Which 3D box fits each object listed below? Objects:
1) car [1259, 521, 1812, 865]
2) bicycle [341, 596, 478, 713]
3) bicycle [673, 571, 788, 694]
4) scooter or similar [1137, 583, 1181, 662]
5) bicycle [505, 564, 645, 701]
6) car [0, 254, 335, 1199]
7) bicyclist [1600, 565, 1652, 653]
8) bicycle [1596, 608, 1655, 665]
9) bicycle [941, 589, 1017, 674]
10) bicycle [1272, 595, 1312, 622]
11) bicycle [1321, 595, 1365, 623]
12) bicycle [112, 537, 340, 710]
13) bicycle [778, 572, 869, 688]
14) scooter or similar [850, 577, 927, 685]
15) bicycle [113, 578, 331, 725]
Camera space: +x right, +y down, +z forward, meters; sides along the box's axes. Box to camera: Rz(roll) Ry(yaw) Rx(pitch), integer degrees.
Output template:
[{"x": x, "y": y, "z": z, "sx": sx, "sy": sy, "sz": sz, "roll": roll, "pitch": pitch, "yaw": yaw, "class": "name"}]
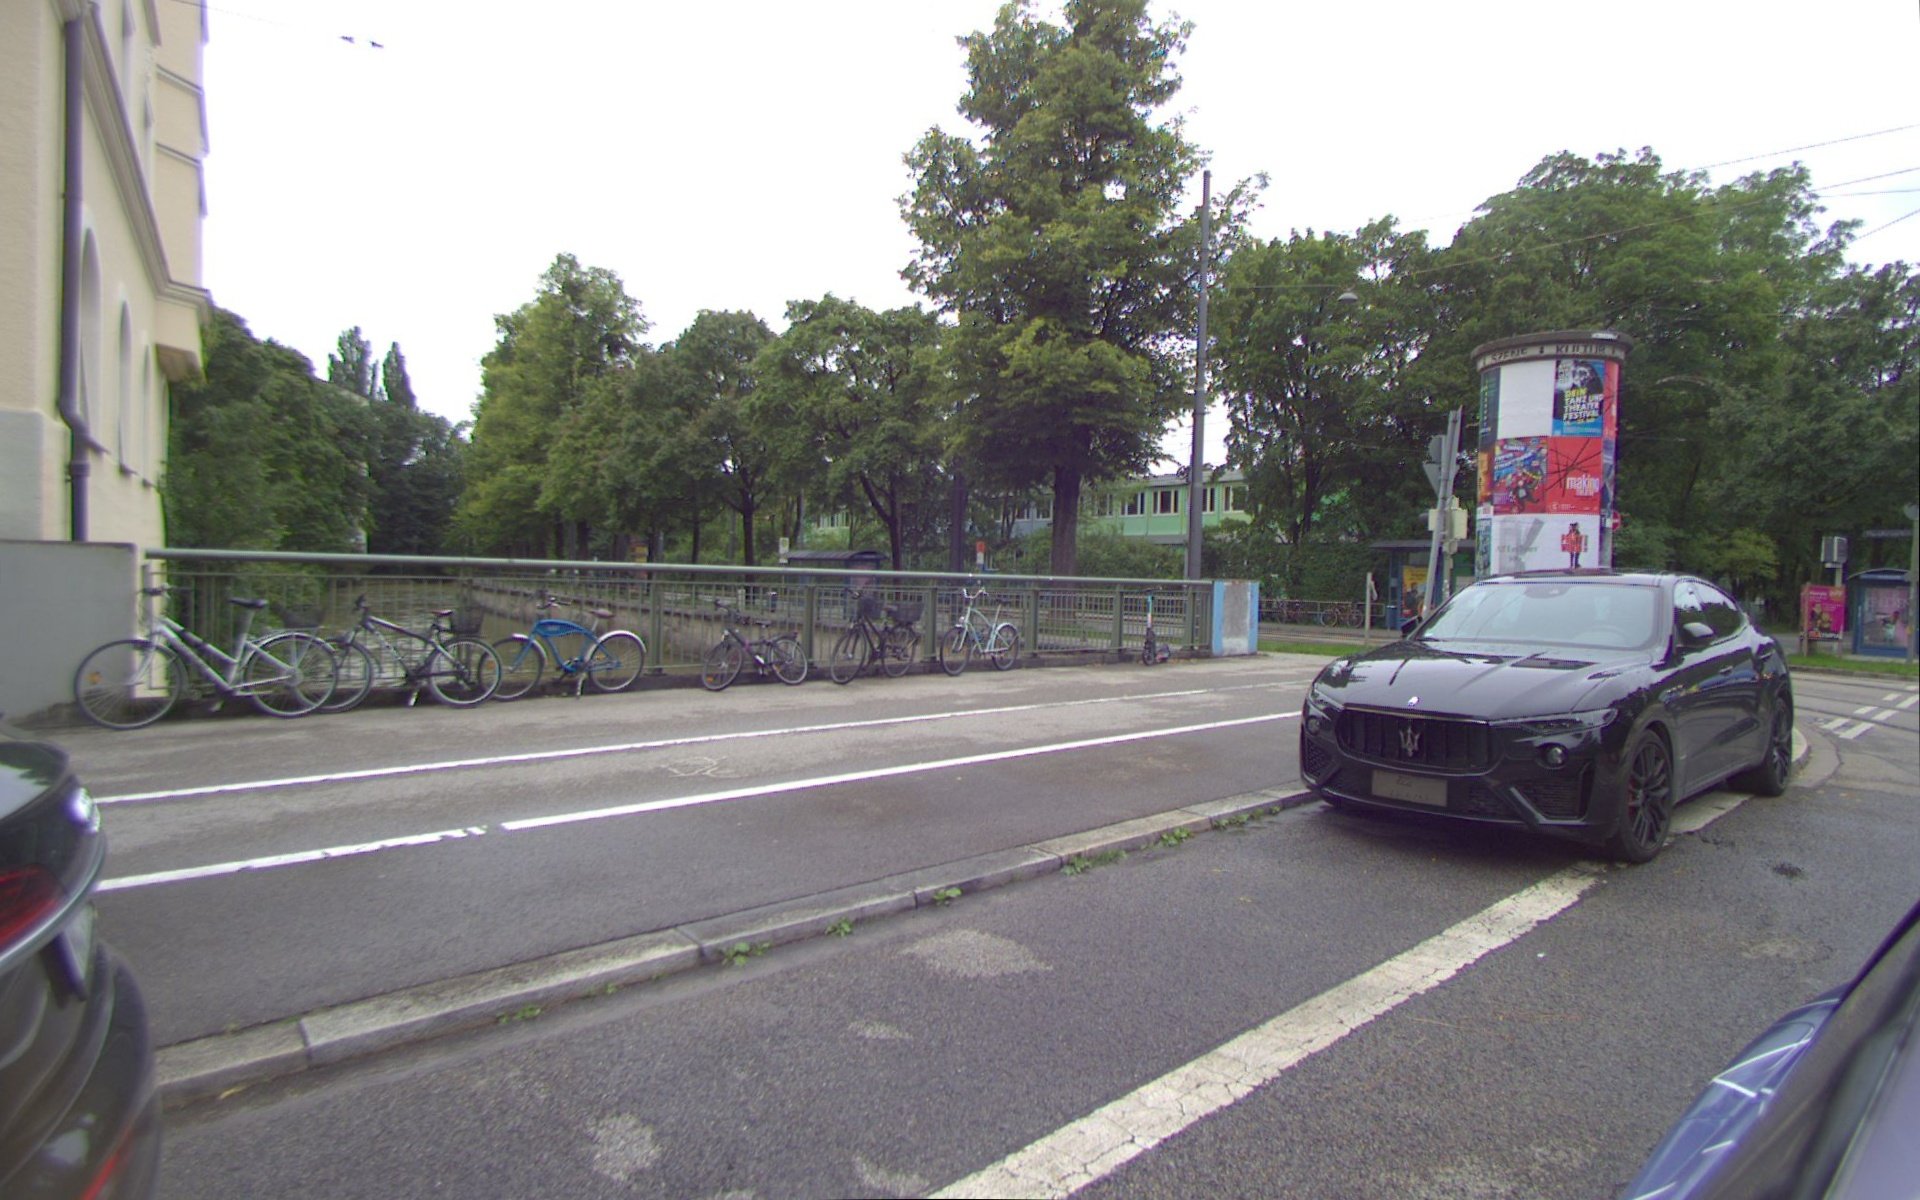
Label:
[{"x": 4.198, "y": 0.449, "z": 7.016, "sx": 4.582, "sy": 1.630, "sz": 1.904, "roll": 1, "pitch": 0, "yaw": -40, "class": "car"}, {"x": -4.970, "y": 0.466, "z": 9.185, "sx": 0.247, "sy": 0.946, "sz": 1.133, "roll": 5, "pitch": 4, "yaw": 27, "class": "bicycle"}, {"x": -2.529, "y": 0.336, "z": 11.275, "sx": 0.281, "sy": 1.298, "sz": 1.391, "roll": 0, "pitch": 0, "yaw": 38, "class": "bicycle"}, {"x": 3.205, "y": 0.349, "z": 16.263, "sx": 0.224, "sy": 1.227, "sz": 1.006, "roll": 0, "pitch": 0, "yaw": 40, "class": "scooter or similar"}, {"x": -3.859, "y": 0.302, "z": 10.238, "sx": 0.281, "sy": 1.298, "sz": 1.391, "roll": 0, "pitch": 0, "yaw": 38, "class": "bicycle"}, {"x": -2.961, "y": 0.507, "z": 0.417, "sx": 4.408, "sy": 1.679, "sz": 1.778, "roll": 0, "pitch": 1, "yaw": -40, "class": "car"}, {"x": 13.667, "y": 0.172, "z": 20.777, "sx": 0.714, "sy": 1.751, "sz": 0.725, "roll": 0, "pitch": 0, "yaw": -41, "class": "bicyclist"}, {"x": 13.604, "y": 0.717, "z": 20.679, "sx": 1.880, "sy": 1.092, "sz": 0.579, "roll": 0, "pitch": 0, "yaw": -43, "class": "bicycle"}, {"x": 0.277, "y": 0.403, "z": 13.880, "sx": 0.263, "sy": 1.095, "sz": 1.524, "roll": 0, "pitch": 0, "yaw": 34, "class": "bicycle"}, {"x": 12.599, "y": 0.304, "z": 38.456, "sx": 0.366, "sy": 0.964, "sz": 1.483, "roll": 0, "pitch": 1, "yaw": -38, "class": "bicycle"}, {"x": 13.866, "y": 0.324, "z": 36.669, "sx": 0.366, "sy": 0.964, "sz": 1.483, "roll": 0, "pitch": 1, "yaw": -38, "class": "bicycle"}, {"x": -6.036, "y": 0.174, "z": 8.384, "sx": 1.511, "sy": 1.329, "sz": 0.332, "roll": 0, "pitch": 0, "yaw": -42, "class": "bicycle"}, {"x": -1.594, "y": 0.324, "z": 11.997, "sx": 0.280, "sy": 1.298, "sz": 1.395, "roll": 0, "pitch": 0, "yaw": 29, "class": "bicycle"}, {"x": -0.866, "y": 0.362, "z": 12.645, "sx": 0.242, "sy": 1.278, "sz": 1.482, "roll": 0, "pitch": 0, "yaw": 26, "class": "scooter or similar"}, {"x": -6.012, "y": 0.383, "z": 8.306, "sx": 0.286, "sy": 1.120, "sz": 1.421, "roll": 1, "pitch": 1, "yaw": 42, "class": "bicycle"}]
